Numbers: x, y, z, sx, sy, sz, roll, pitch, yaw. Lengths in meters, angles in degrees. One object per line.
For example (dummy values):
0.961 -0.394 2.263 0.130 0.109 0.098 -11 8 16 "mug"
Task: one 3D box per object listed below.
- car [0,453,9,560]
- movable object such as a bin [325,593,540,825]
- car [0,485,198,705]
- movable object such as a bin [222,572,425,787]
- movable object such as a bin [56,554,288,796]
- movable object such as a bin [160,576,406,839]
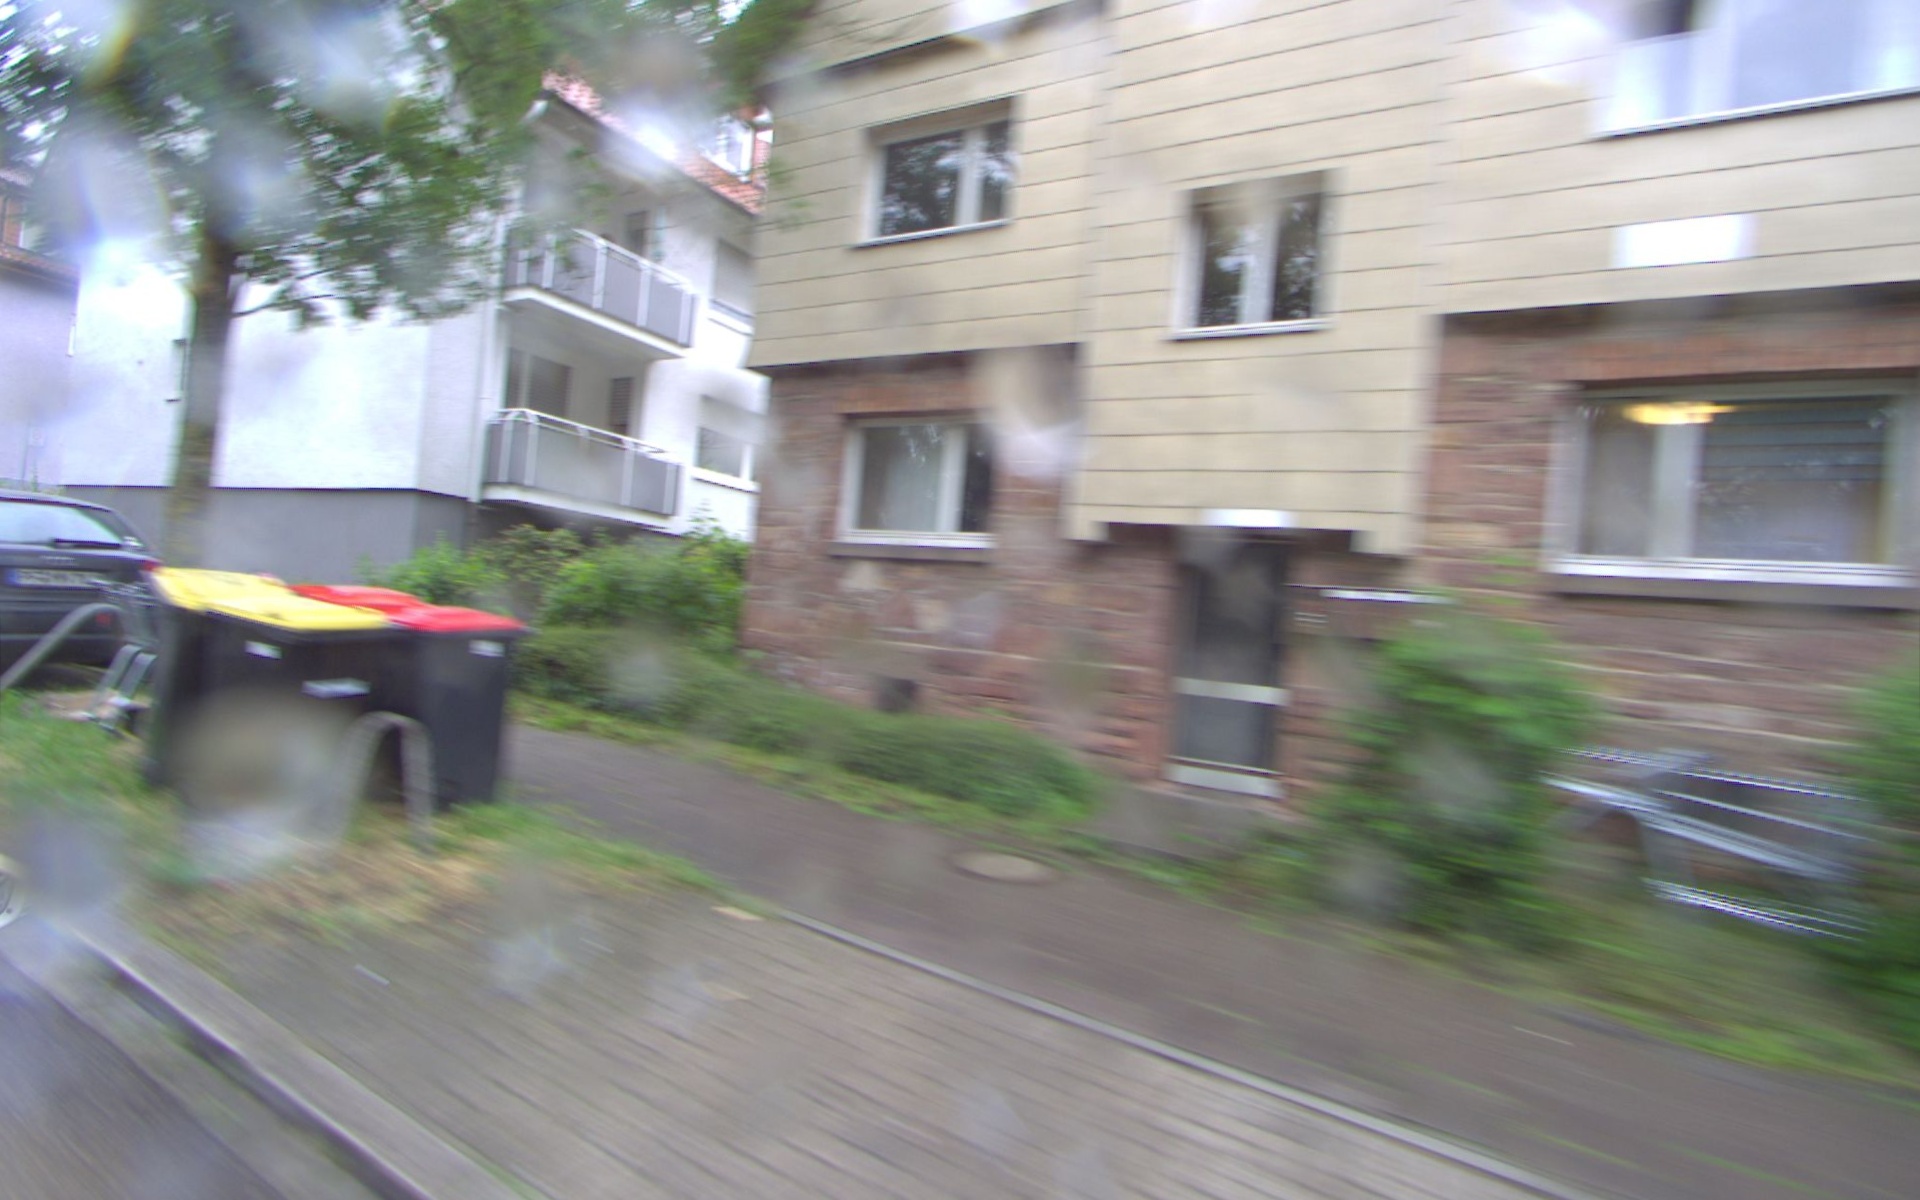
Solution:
-12.104 -0.883 10.678 4.466 1.794 1.825 7 1 33 "car"
-2.829 0.546 5.407 0.808 1.064 0.619 8 3 29 "movable object such as a bin"
-7.943 -0.203 7.914 3.931 1.466 1.644 7 0 30 "car"
-3.653 0.427 5.783 0.808 1.064 0.619 8 3 29 "movable object such as a bin"
-4.026 0.353 5.147 0.808 1.064 0.619 8 3 29 "movable object such as a bin"
-3.217 0.469 4.790 0.808 1.064 0.619 8 3 29 "movable object such as a bin"
